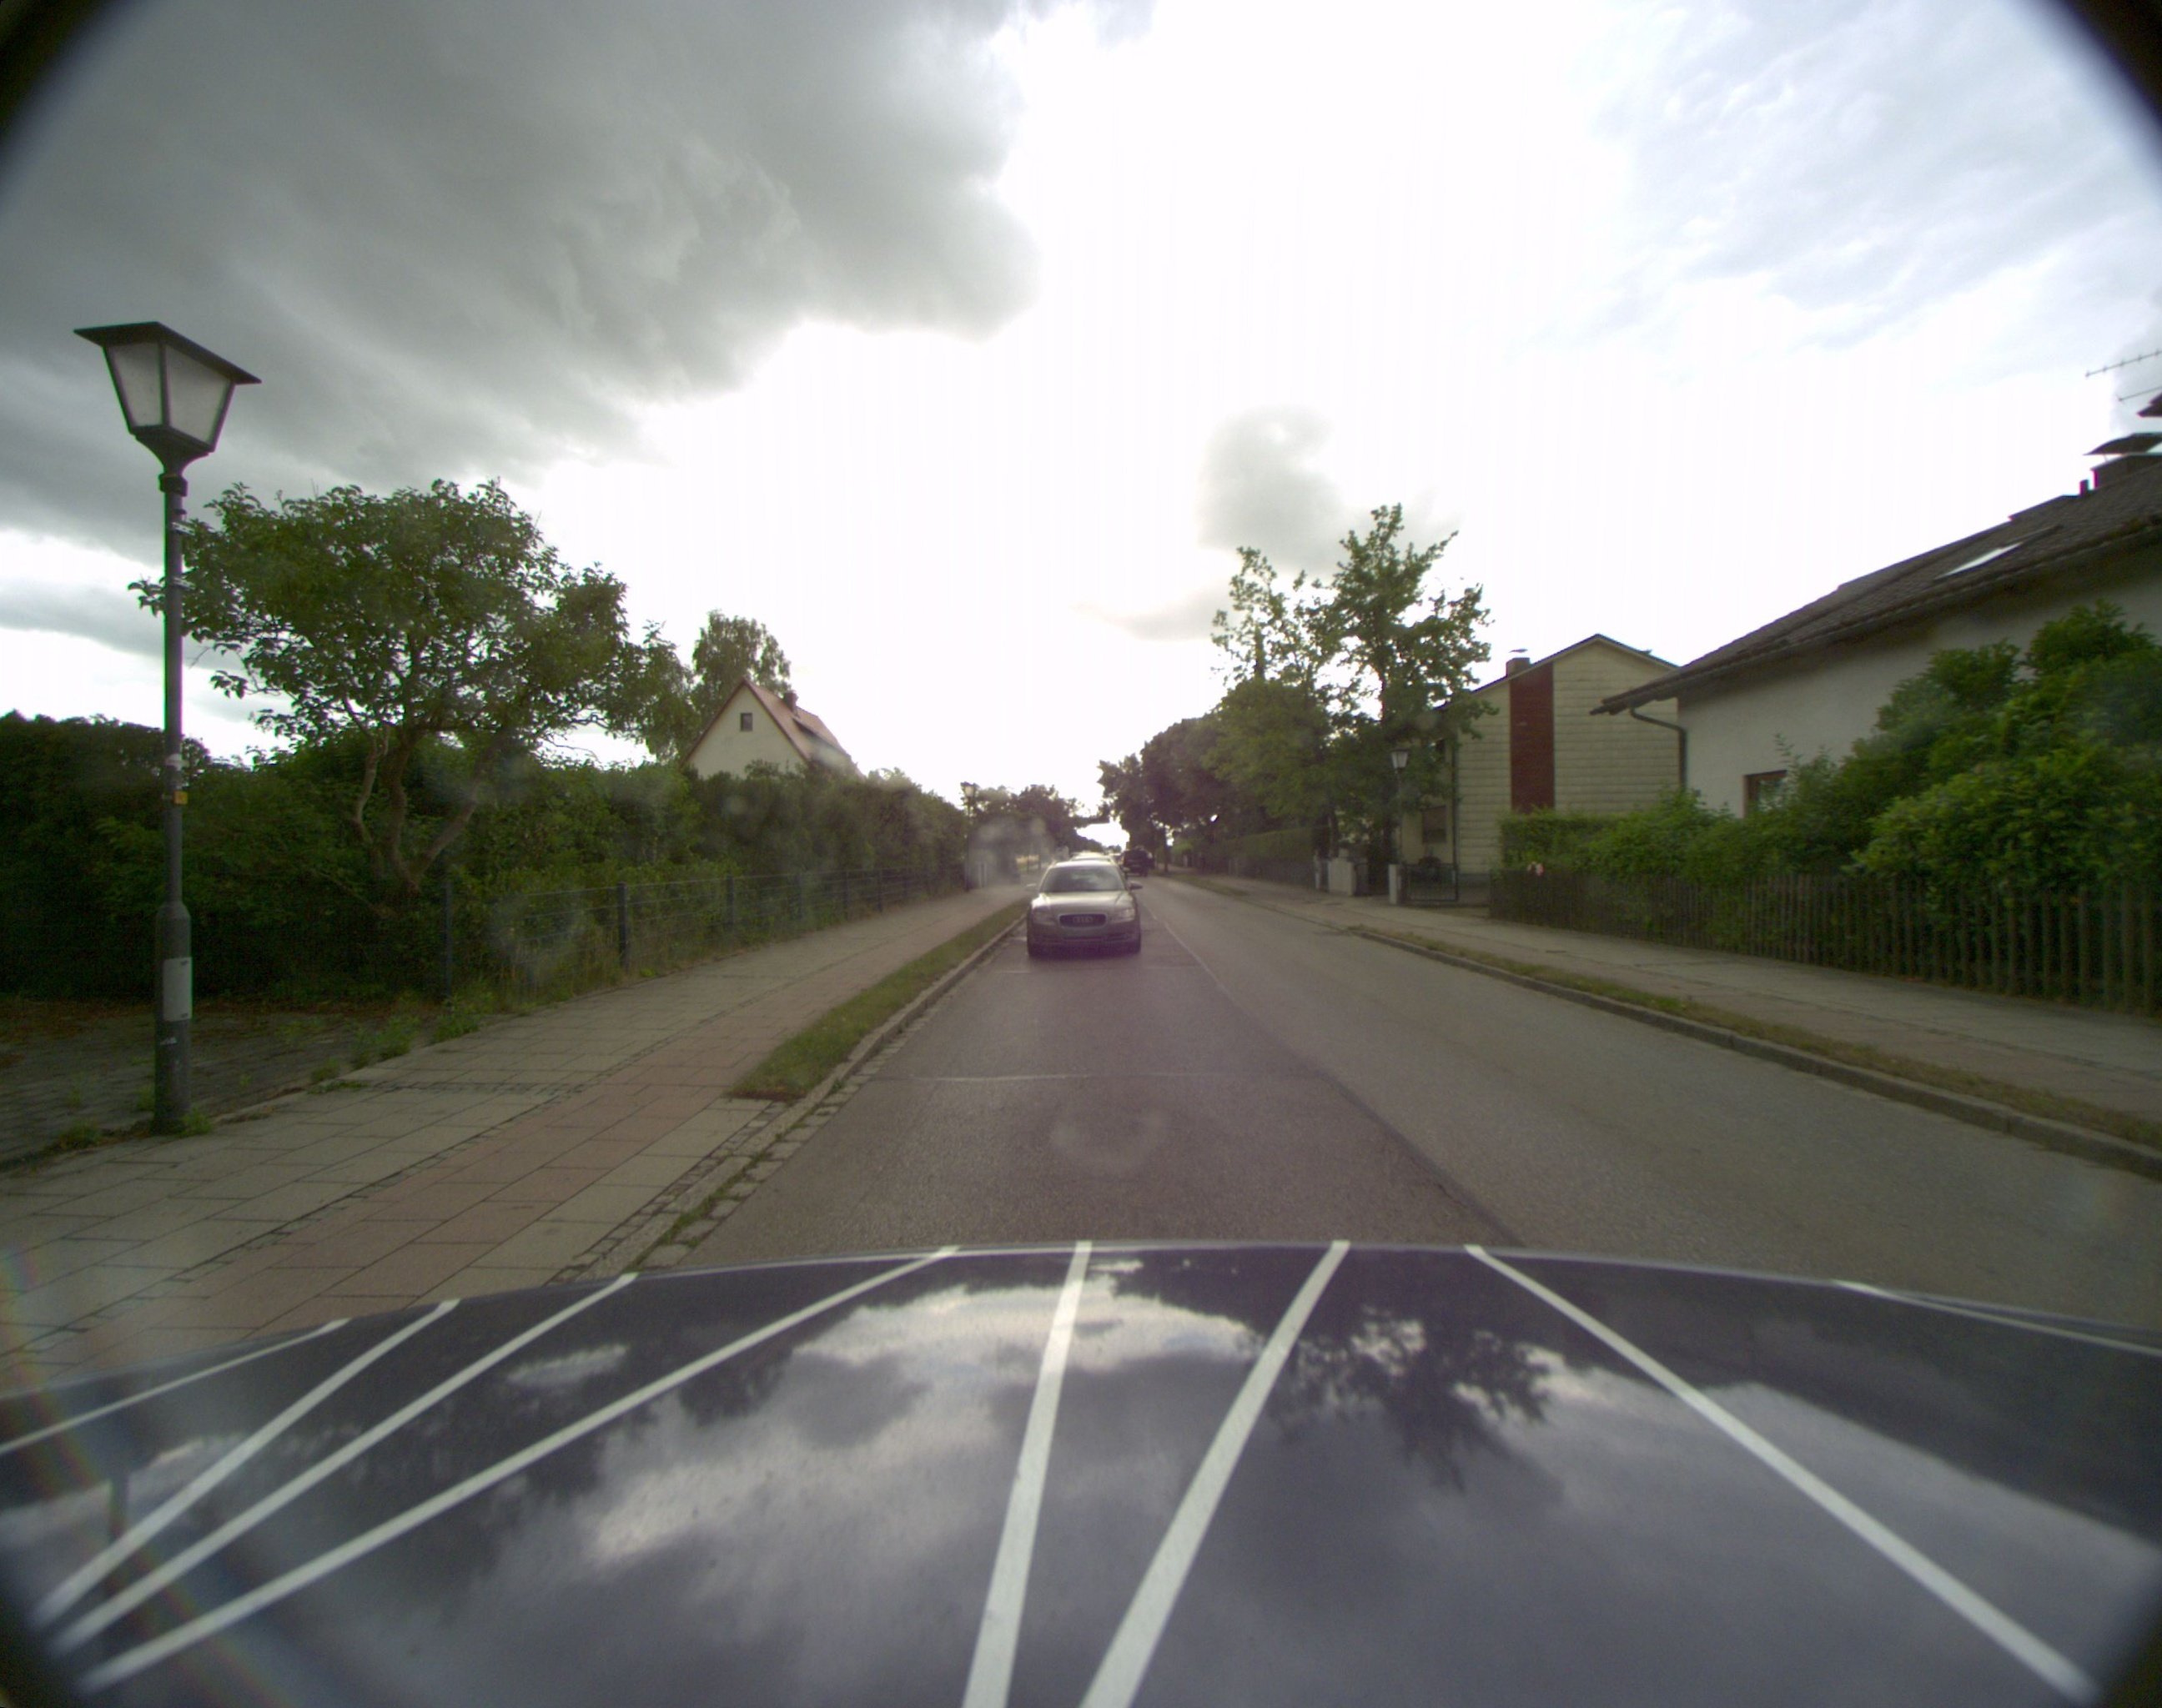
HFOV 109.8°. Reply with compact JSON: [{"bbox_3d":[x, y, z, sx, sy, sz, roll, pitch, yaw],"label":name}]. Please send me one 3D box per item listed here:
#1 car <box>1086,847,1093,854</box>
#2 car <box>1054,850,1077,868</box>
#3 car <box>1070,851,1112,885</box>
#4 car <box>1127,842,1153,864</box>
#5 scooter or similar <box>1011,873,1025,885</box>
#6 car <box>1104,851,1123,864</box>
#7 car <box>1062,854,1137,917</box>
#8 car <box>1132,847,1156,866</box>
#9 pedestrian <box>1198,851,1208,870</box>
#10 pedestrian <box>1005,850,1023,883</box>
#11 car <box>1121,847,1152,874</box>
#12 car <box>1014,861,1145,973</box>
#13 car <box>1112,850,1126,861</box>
[{"bbox_3d":[2.564,-1.099,220.463,1.998,2.002,4.000,-1,0,1],"label":"car"},{"bbox_3d":[-1.313,0.437,66.043,1.866,1.518,4.122,-1,0,-1],"label":"car"},{"bbox_3d":[0.479,0.640,37.155,1.866,1.518,4.122,-1,0,1],"label":"car"},{"bbox_3d":[6.330,-0.106,82.395,2.246,2.258,4.469,-2,0,-2],"label":"car"},{"bbox_3d":[-3.068,1.203,37.077,0.618,0.553,0.742,-1,0,-1],"label":"scooter or similar"},{"bbox_3d":[3.612,0.361,84.956,1.851,1.445,4.548,-1,0,0],"label":"car"},{"bbox_3d":[0.498,0.801,21.759,1.866,1.518,4.943,-1,0,1],"label":"car"},{"bbox_3d":[6.313,0.245,76.374,1.999,1.739,3.999,-1,0,-2],"label":"car"},{"bbox_3d":[9.080,0.479,56.364,0.631,1.429,0.563,-1,1,1],"label":"pedestrian"},{"bbox_3d":[-3.320,0.621,37.781,0.792,1.592,0.671,-1,1,-2],"label":"pedestrian"},{"bbox_3d":[3.957,0.440,54.983,1.969,1.842,4.948,-1,0,2],"label":"car"},{"bbox_3d":[0.003,0.911,12.861,1.809,1.476,4.270,-1,0,1],"label":"car"},{"bbox_3d":[5.571,0.240,111.707,1.756,1.475,4.375,-1,0,-1],"label":"car"}]
